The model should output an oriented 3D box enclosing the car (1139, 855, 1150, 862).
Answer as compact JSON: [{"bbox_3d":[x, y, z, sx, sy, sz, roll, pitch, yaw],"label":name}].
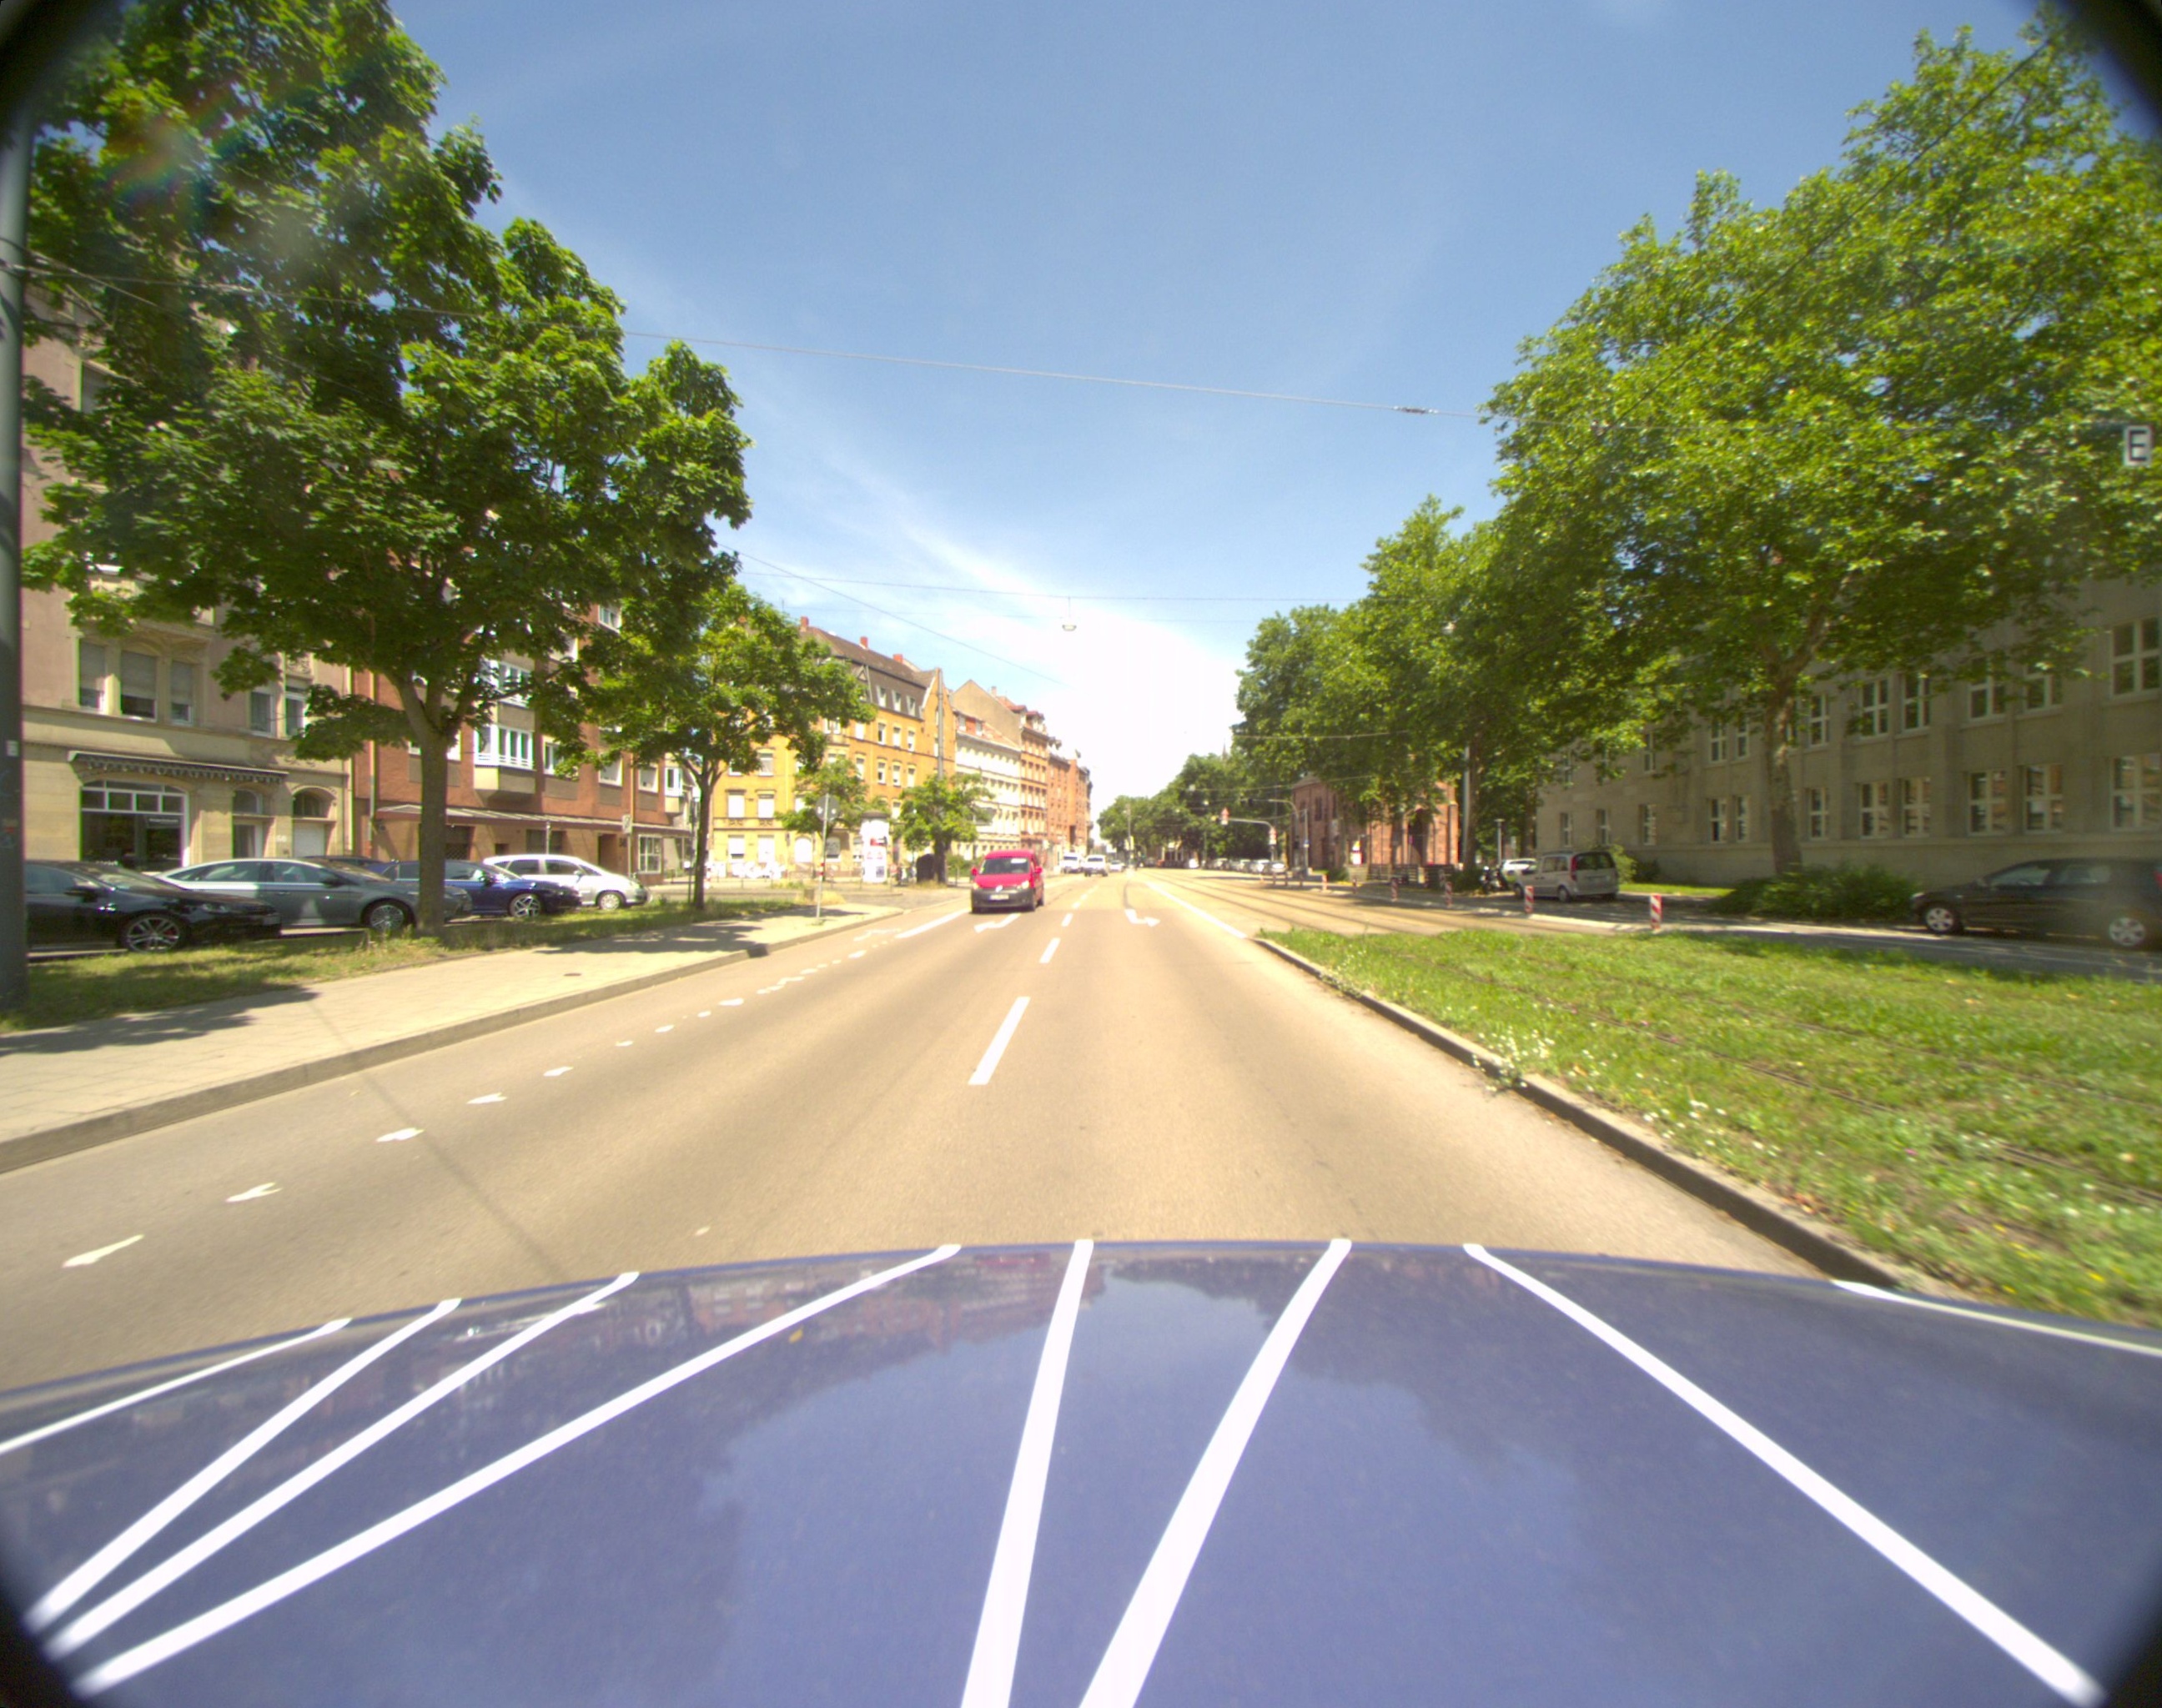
[{"bbox_3d":[13.023,0.918,155.179,1.751,1.387,4.346,-2,0,-1],"label":"car"}]

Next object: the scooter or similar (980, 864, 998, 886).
[{"bbox_3d":[-5.053,1.149,41.821,0.390,1.207,1.182,3,0,25],"label":"scooter or similar"}]

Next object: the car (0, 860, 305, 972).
[{"bbox_3d":[-14.105,0.832,10.703,4.003,1.378,1.821,-2,0,-19],"label":"car"}]

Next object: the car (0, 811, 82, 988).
[{"bbox_3d":[-14.265,0.568,7.500,4.855,1.961,2.072,-2,0,-27],"label":"car"}]

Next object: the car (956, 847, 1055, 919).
[{"bbox_3d":[-2.057,0.749,22.392,1.859,1.823,5.168,-2,0,6],"label":"car"}]

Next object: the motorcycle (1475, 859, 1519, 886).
[{"bbox_3d":[17.708,0.781,32.365,1.874,1.062,0.725,-3,1,-29],"label":"motorcycle"}]

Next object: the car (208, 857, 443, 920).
[{"bbox_3d":[-22.071,0.933,22.518,1.997,1.591,4.602,-2,0,9],"label":"car"}]

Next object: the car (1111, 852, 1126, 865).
[{"bbox_3d":[4.762,0.593,96.397,1.800,1.565,4.001,-2,0,3],"label":"car"}]

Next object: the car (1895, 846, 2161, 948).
[{"bbox_3d":[16.968,0.628,12.899,1.767,1.474,4.324,-2,0,2],"label":"car"}]

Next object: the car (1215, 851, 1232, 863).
[{"bbox_3d":[19.973,0.429,106.849,1.747,1.643,3.906,-2,0,3],"label":"car"}]

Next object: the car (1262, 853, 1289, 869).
[{"bbox_3d":[19.294,0.653,75.397,1.662,1.450,4.221,-2,0,2],"label":"car"}]

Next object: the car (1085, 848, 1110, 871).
[{"bbox_3d":[1.499,0.479,69.861,2.165,1.926,4.854,-2,0,1],"label":"car"}]

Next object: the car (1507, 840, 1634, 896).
[{"bbox_3d":[17.617,0.465,27.634,1.998,1.800,4.302,-2,0,4],"label":"car"}]

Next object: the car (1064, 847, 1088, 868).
[{"bbox_3d":[-0.529,0.410,89.011,1.997,2.317,5.410,2,1,7],"label":"car"}]

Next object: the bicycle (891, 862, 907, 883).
[{"bbox_3d":[-10.100,1.021,42.179,0.487,1.146,1.708,-2,0,-1],"label":"bicycle"}]

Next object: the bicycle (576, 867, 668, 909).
[{"bbox_3d":[-14.441,1.047,24.004,0.739,1.186,2.365,-1,0,33],"label":"bicycle"}]

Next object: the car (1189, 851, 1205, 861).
[{"bbox_3d":[19.678,0.337,129.397,1.977,1.554,3.999,-2,0,-1],"label":"car"}]

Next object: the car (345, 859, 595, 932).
[{"bbox_3d":[-13.633,0.881,17.276,4.003,1.391,1.821,-2,0,-19],"label":"car"}]

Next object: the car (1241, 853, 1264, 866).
[{"bbox_3d":[19.319,0.587,85.512,1.662,1.450,4.058,-2,0,1],"label":"car"}]

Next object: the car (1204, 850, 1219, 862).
[{"bbox_3d":[20.536,0.321,119.687,1.825,1.681,3.732,-2,0,1],"label":"car"}]

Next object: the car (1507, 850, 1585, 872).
[{"bbox_3d":[34.342,0.521,56.226,1.918,1.499,4.524,-2,0,-33],"label":"car"}]

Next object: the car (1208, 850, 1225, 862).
[{"bbox_3d":[20.354,0.352,114.362,1.998,1.707,4.000,-2,0,2],"label":"car"}]

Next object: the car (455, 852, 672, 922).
[{"bbox_3d":[-13.691,0.827,20.470,4.416,1.622,1.997,-2,0,-20],"label":"car"}]

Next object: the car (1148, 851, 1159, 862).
[{"bbox_3d":[15.813,0.490,166.101,1.821,2.283,3.761,-2,0,-1],"label":"car"}]

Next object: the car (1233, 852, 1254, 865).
[{"bbox_3d":[19.439,0.489,90.860,1.747,1.450,3.753,-2,0,1],"label":"car"}]

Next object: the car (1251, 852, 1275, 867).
[{"bbox_3d":[19.297,0.566,80.528,1.662,1.450,4.059,-2,0,2],"label":"car"}]

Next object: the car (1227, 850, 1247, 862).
[{"bbox_3d":[19.665,0.238,96.175,1.747,1.514,3.753,-2,0,1],"label":"car"}]

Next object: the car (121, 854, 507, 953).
[{"bbox_3d":[-13.905,0.820,14.228,4.638,1.488,1.962,-2,0,-22],"label":"car"}]

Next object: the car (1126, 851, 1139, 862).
[{"bbox_3d":[7.513,0.357,111.966,1.800,1.565,4.001,-2,0,3],"label":"car"}]
